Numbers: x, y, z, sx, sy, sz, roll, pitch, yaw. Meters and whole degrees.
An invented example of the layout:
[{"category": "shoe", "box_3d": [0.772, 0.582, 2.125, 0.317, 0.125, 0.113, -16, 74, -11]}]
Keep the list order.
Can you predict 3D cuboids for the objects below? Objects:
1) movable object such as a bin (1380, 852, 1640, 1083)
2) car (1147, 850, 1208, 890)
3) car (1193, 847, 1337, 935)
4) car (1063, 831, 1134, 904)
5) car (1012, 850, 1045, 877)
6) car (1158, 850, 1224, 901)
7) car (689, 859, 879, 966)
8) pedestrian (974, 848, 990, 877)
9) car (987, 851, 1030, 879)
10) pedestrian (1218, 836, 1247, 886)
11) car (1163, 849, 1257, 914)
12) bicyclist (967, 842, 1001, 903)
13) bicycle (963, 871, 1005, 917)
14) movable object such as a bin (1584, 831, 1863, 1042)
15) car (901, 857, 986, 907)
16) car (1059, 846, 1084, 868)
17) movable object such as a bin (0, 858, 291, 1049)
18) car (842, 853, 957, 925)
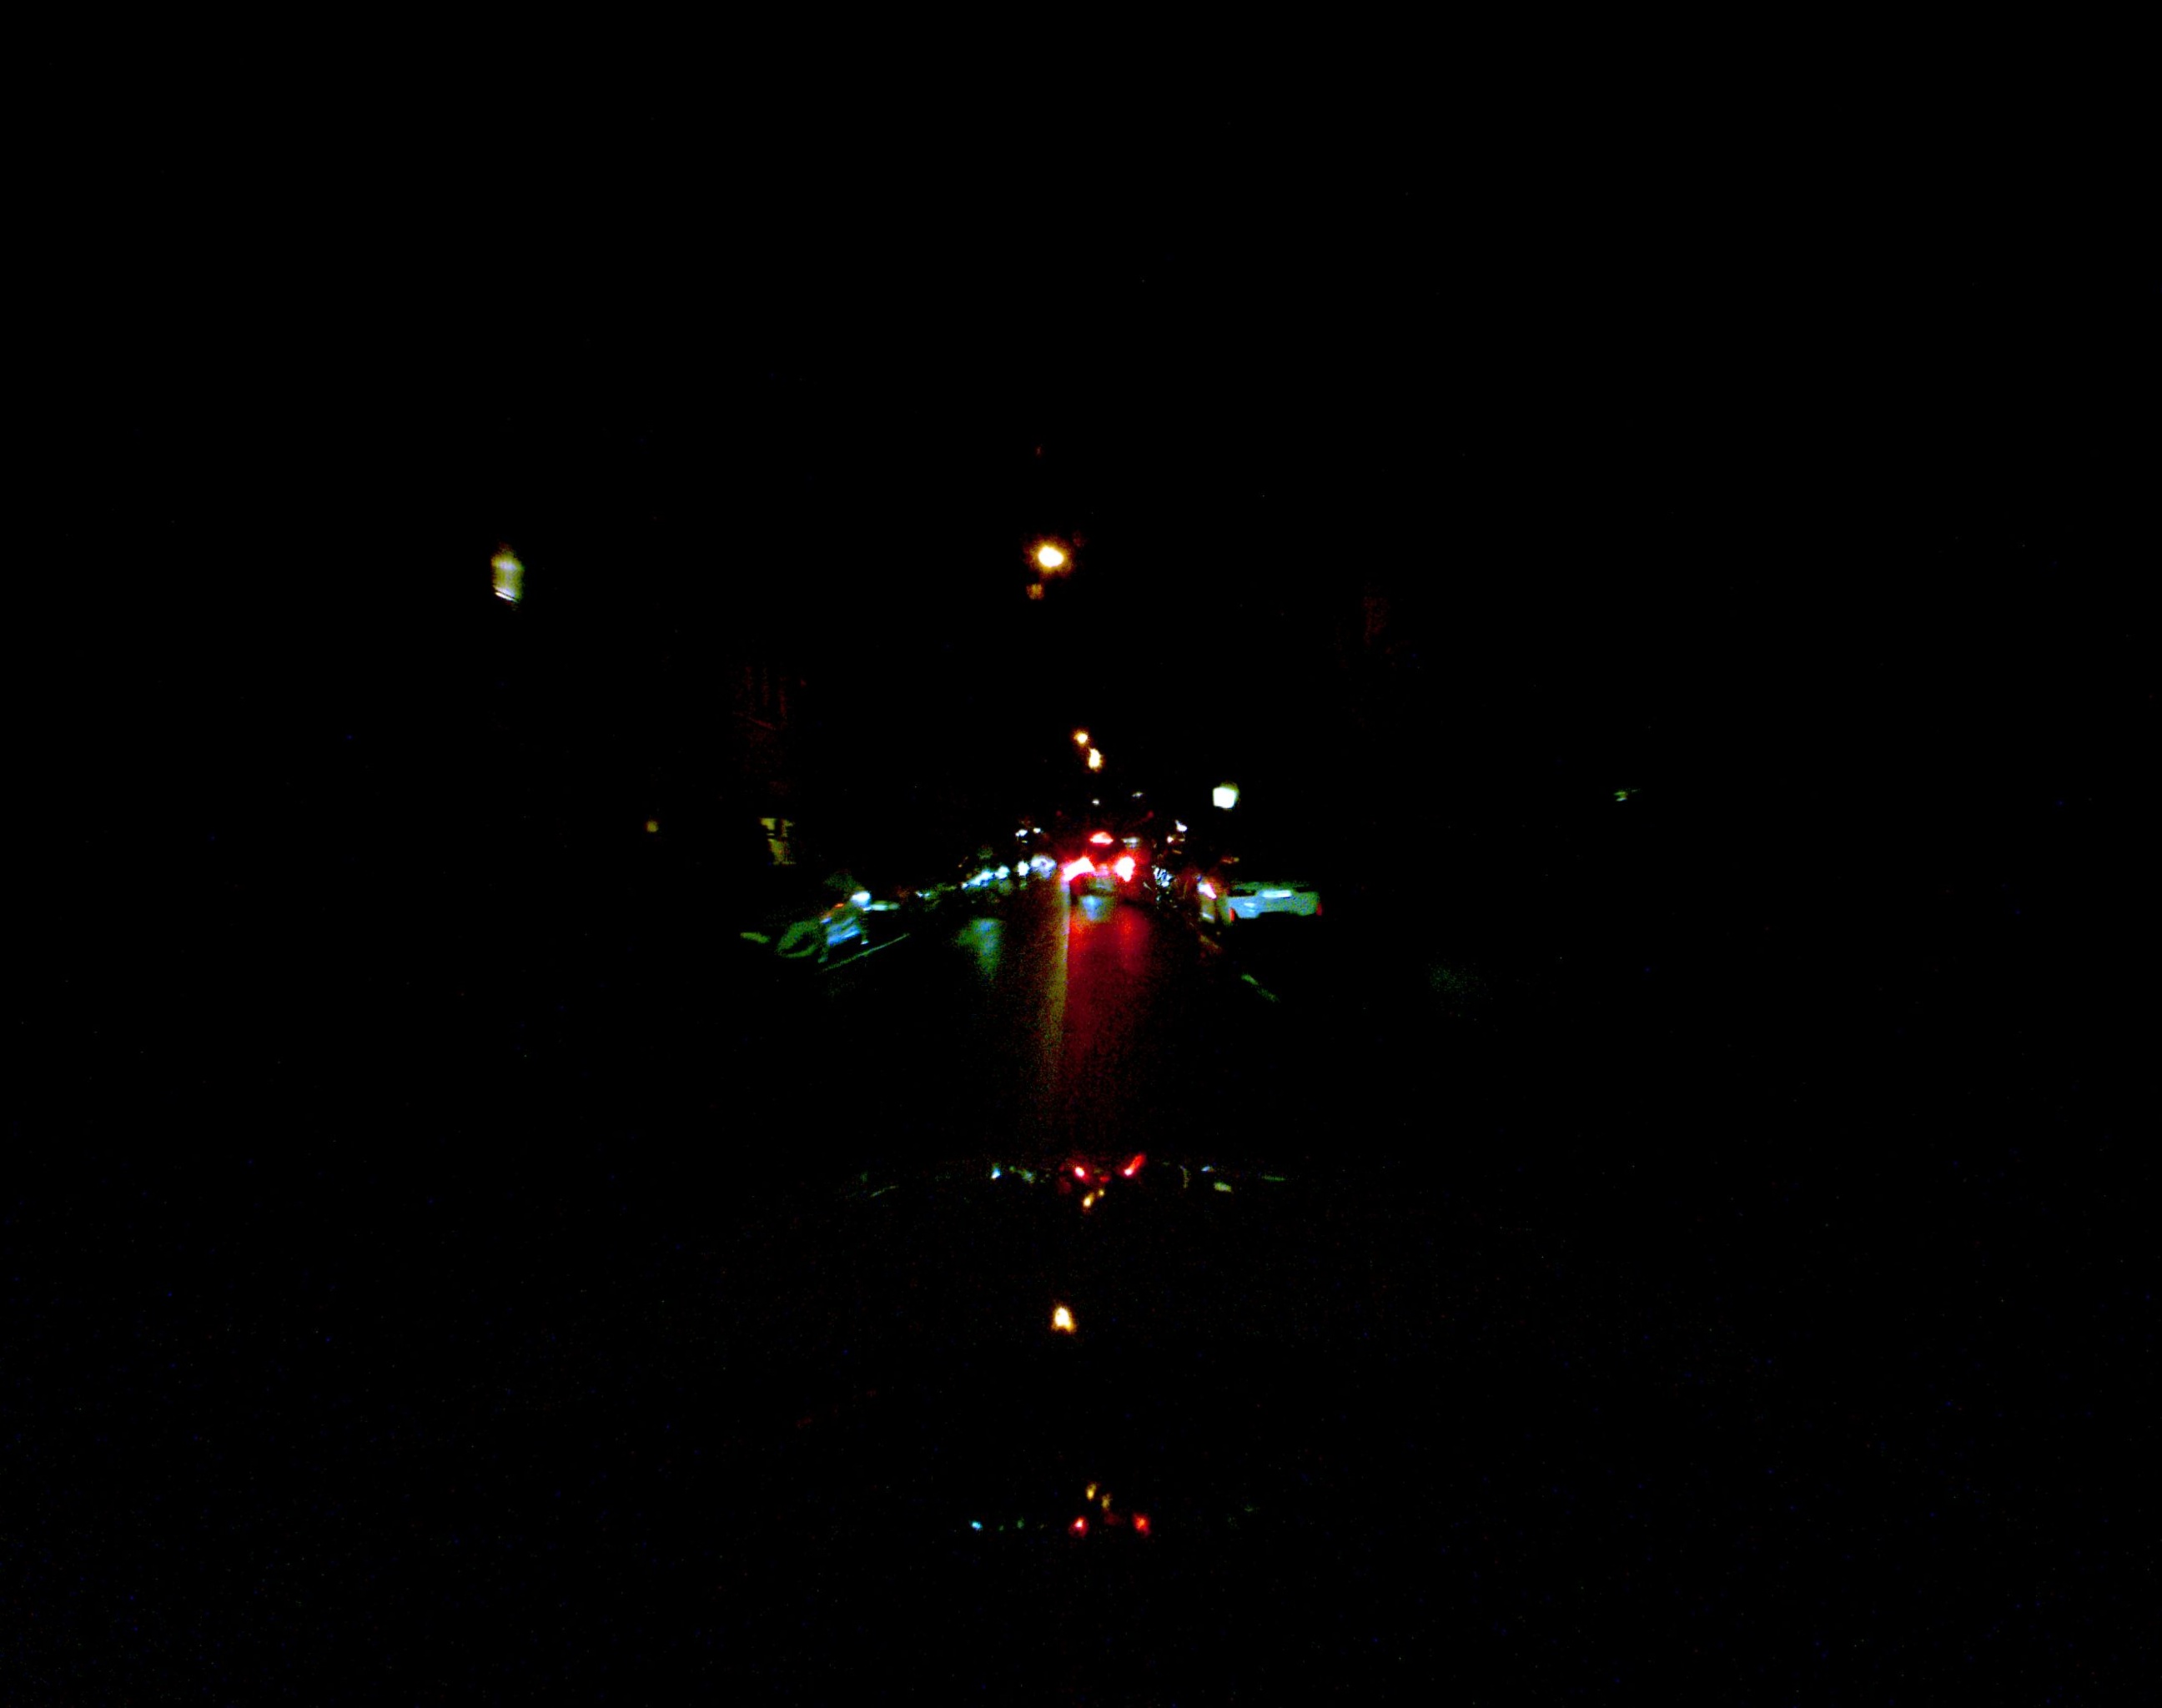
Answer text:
[{"category": "movable object such as a bin", "box_3d": [3.130, 0.716, 5.975, 1.347, 1.429, 1.188, -1, 0, -35]}, {"category": "car", "box_3d": [3.685, 0.560, 31.702, 1.910, 1.412, 4.001, -1, 0, 1]}, {"category": "car", "box_3d": [3.467, 0.635, 16.244, 1.986, 1.464, 4.418, -1, 0, 2]}, {"category": "car", "box_3d": [0.598, 0.377, 25.703, 1.988, 2.049, 4.697, -1, 0, 2]}, {"category": "car", "box_3d": [-3.562, 0.622, 56.128, 1.825, 1.717, 4.596, -1, 0, 2]}, {"category": "car", "box_3d": [3.493, 0.653, 26.434, 1.683, 1.498, 3.892, -1, 0, 1]}, {"category": "car", "box_3d": [-4.694, 0.835, 13.448, 1.665, 1.491, 3.723, 0, 0, 2]}, {"category": "pedestrian", "box_3d": [-6.301, 0.522, 51.839, 0.739, 1.804, 0.988, 1, -1, 5]}, {"category": "car", "box_3d": [-4.037, 0.576, 45.720, 1.825, 1.486, 4.596, -1, 0, 2]}, {"category": "pedestrian", "box_3d": [5.643, 0.231, 30.363, 0.858, 1.788, 1.084, -3, 1, 5]}, {"category": "car", "box_3d": [3.250, 0.642, 21.181, 1.685, 1.498, 3.888, -1, 0, -2]}, {"category": "bicyclist", "box_3d": [-2.550, 0.478, 21.562, 0.715, 1.556, 0.895, -2, 0, 1]}, {"category": "bicycle", "box_3d": [-2.538, 1.036, 21.641, 0.724, 1.072, 2.349, -2, 0, 2]}, {"category": "movable object such as a bin", "box_3d": [4.750, 0.570, 6.160, 1.300, 1.429, 1.053, -1, 0, 11]}, {"category": "car", "box_3d": [-4.266, 0.824, 25.956, 1.815, 1.389, 4.427, -1, 0, 2]}, {"category": "car", "box_3d": [-0.742, 0.223, 66.668, 1.914, 1.618, 4.575, -3, 0, 0]}, {"category": "movable object such as a bin", "box_3d": [-8.083, 0.781, 7.045, 1.098, 1.454, 1.378, -2, 0, 0]}, {"category": "car", "box_3d": [-4.383, 0.785, 20.313, 1.768, 1.572, 4.136, -1, 0, 2]}]
